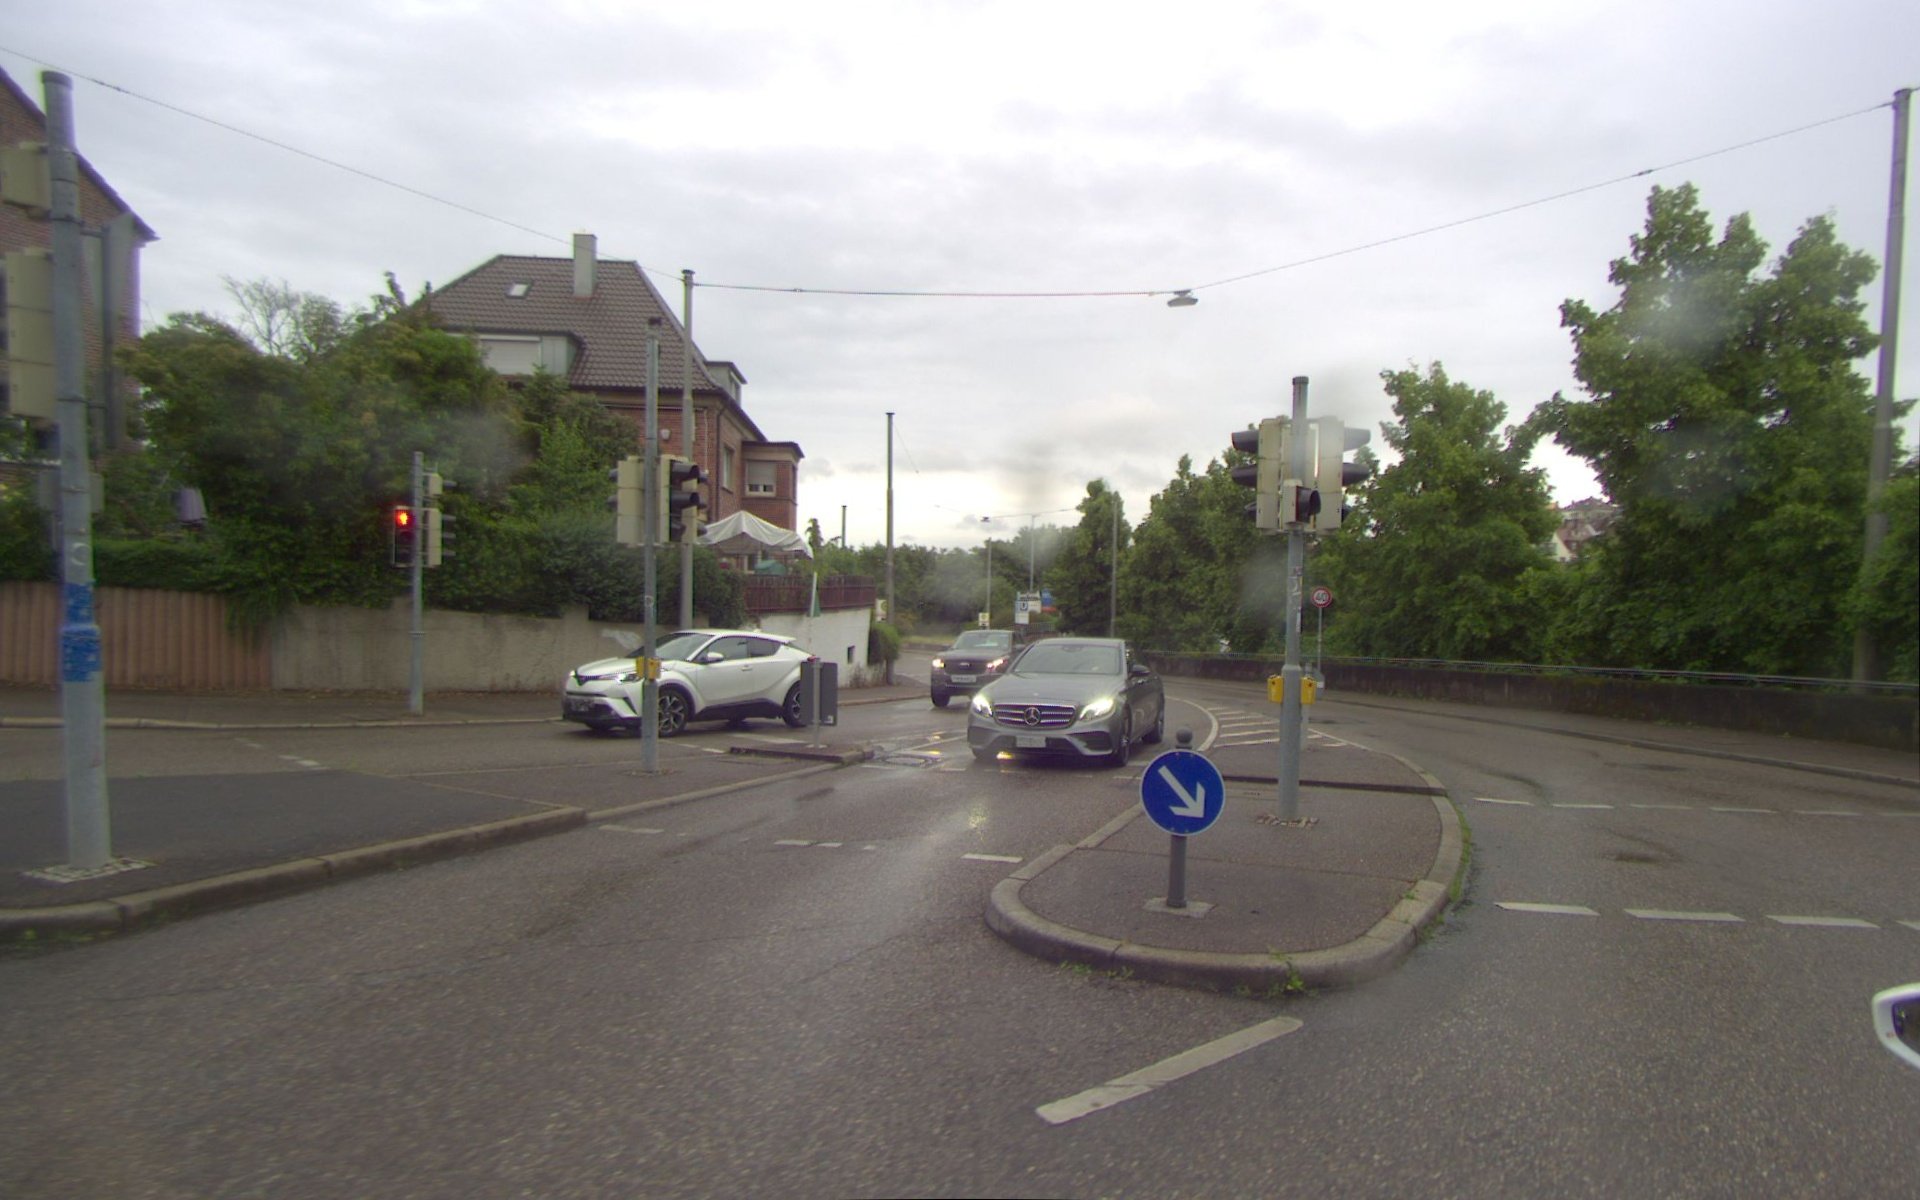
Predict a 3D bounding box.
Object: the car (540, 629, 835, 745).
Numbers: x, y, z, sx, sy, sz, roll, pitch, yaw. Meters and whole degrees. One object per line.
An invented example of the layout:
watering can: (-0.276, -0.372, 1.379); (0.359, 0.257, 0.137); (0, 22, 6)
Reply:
car: (-3.999, 1.253, 15.418); (1.684, 1.486, 4.247); (1, -2, 35)

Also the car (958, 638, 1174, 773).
car: (1.575, 1.207, 12.999); (1.828, 1.413, 4.598); (-1, -2, 18)

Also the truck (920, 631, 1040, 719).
truck: (0.635, 1.729, 24.612); (1.850, 1.873, 5.284); (1, -2, 13)
